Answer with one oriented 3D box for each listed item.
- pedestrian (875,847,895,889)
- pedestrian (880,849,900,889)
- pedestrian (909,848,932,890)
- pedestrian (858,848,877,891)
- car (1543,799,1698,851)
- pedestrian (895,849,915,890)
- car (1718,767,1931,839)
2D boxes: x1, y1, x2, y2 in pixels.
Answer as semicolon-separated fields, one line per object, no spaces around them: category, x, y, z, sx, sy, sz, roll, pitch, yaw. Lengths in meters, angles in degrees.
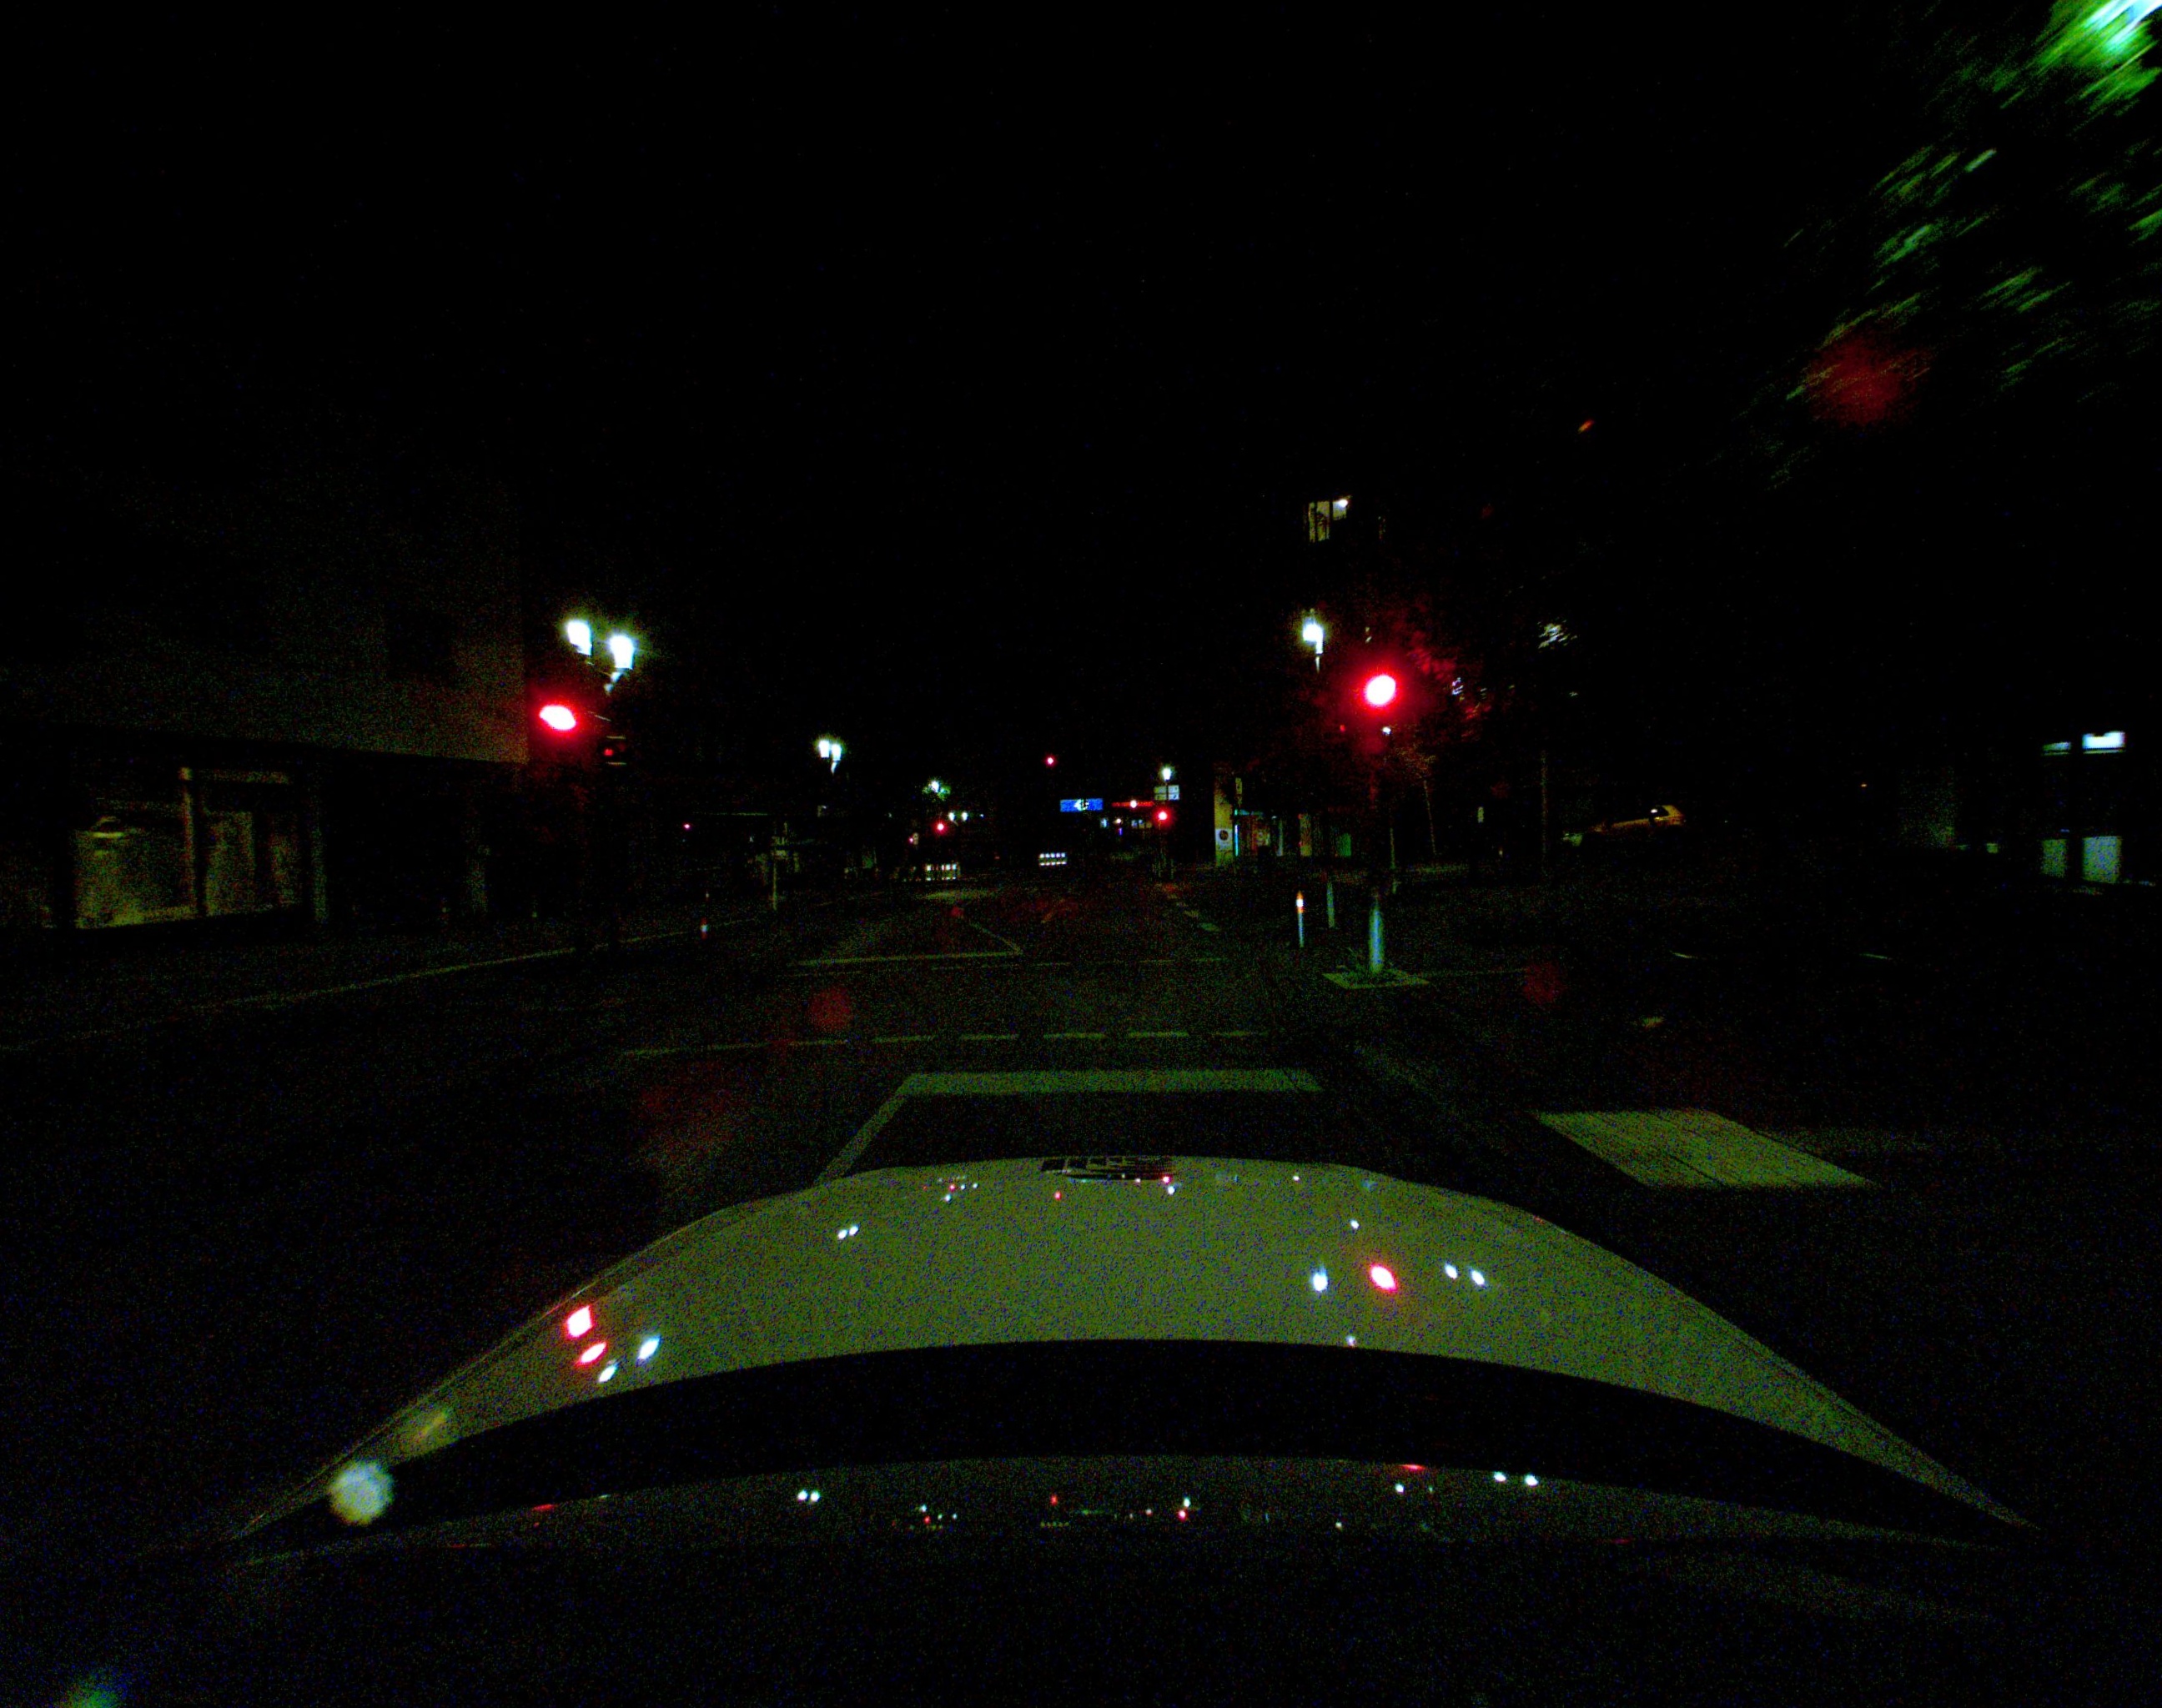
pedestrian;-8.630;0.614;35.849;0.712;1.795;0.571;-1;-2;8
pedestrian;-8.647;0.693;36.955;0.712;1.795;0.571;-1;-2;8
pedestrian;-7.093;0.663;35.993;0.710;1.795;0.741;-1;-2;21
pedestrian;-8.944;0.641;34.127;0.716;1.795;0.567;0;-2;-11
car;18.555;-0.979;28.178;4.019;1.452;1.830;-4;0;8
pedestrian;-7.819;0.680;36.271;0.712;1.795;0.571;-1;-2;8
car;23.436;-1.531;25.994;4.783;1.910;2.172;-1;-2;37
